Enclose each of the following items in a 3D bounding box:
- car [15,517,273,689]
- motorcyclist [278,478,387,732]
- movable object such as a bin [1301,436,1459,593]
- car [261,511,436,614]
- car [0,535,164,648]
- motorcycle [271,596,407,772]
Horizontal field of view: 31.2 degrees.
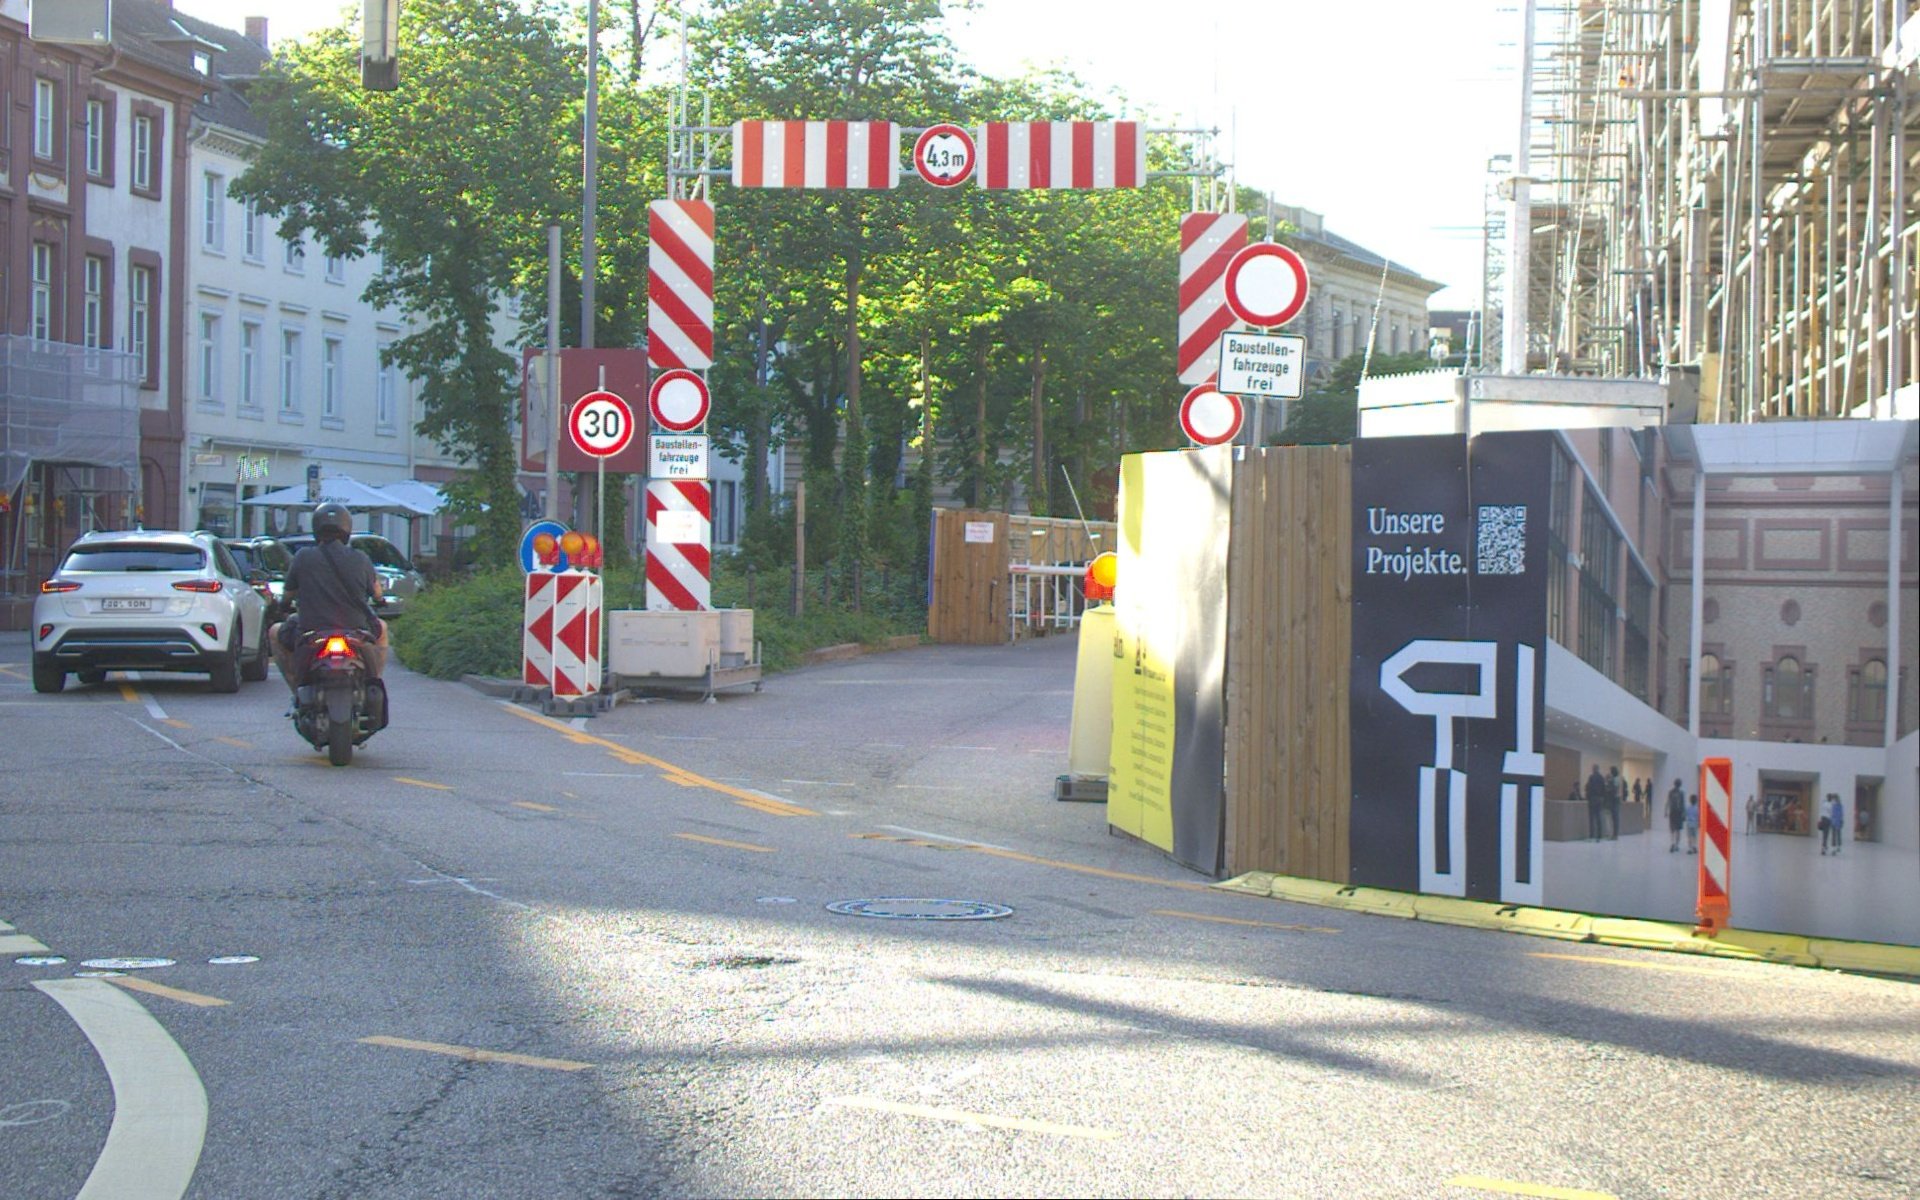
[{"bbox_3d":[-7.608,-0.011,32.376,1.850,1.475,4.058,2,1,-6],"label":"car"},{"bbox_3d":[-4.161,0.029,22.783,0.657,1.645,0.651,1,1,-11],"label":"motorcyclist"},{"bbox_3d":[12.649,-2.504,102.905,3.310,4.524,7.898,0,1,18],"label":"movable object such as a bin"},{"bbox_3d":[-10.759,-0.672,60.718,1.841,1.707,4.056,2,1,8],"label":"car"},{"bbox_3d":[-12.286,-0.151,47.981,1.840,1.458,4.058,1,1,-7],"label":"car"},{"bbox_3d":[-4.113,0.535,22.681,0.796,1.062,1.726,1,1,-12],"label":"motorcycle"}]
